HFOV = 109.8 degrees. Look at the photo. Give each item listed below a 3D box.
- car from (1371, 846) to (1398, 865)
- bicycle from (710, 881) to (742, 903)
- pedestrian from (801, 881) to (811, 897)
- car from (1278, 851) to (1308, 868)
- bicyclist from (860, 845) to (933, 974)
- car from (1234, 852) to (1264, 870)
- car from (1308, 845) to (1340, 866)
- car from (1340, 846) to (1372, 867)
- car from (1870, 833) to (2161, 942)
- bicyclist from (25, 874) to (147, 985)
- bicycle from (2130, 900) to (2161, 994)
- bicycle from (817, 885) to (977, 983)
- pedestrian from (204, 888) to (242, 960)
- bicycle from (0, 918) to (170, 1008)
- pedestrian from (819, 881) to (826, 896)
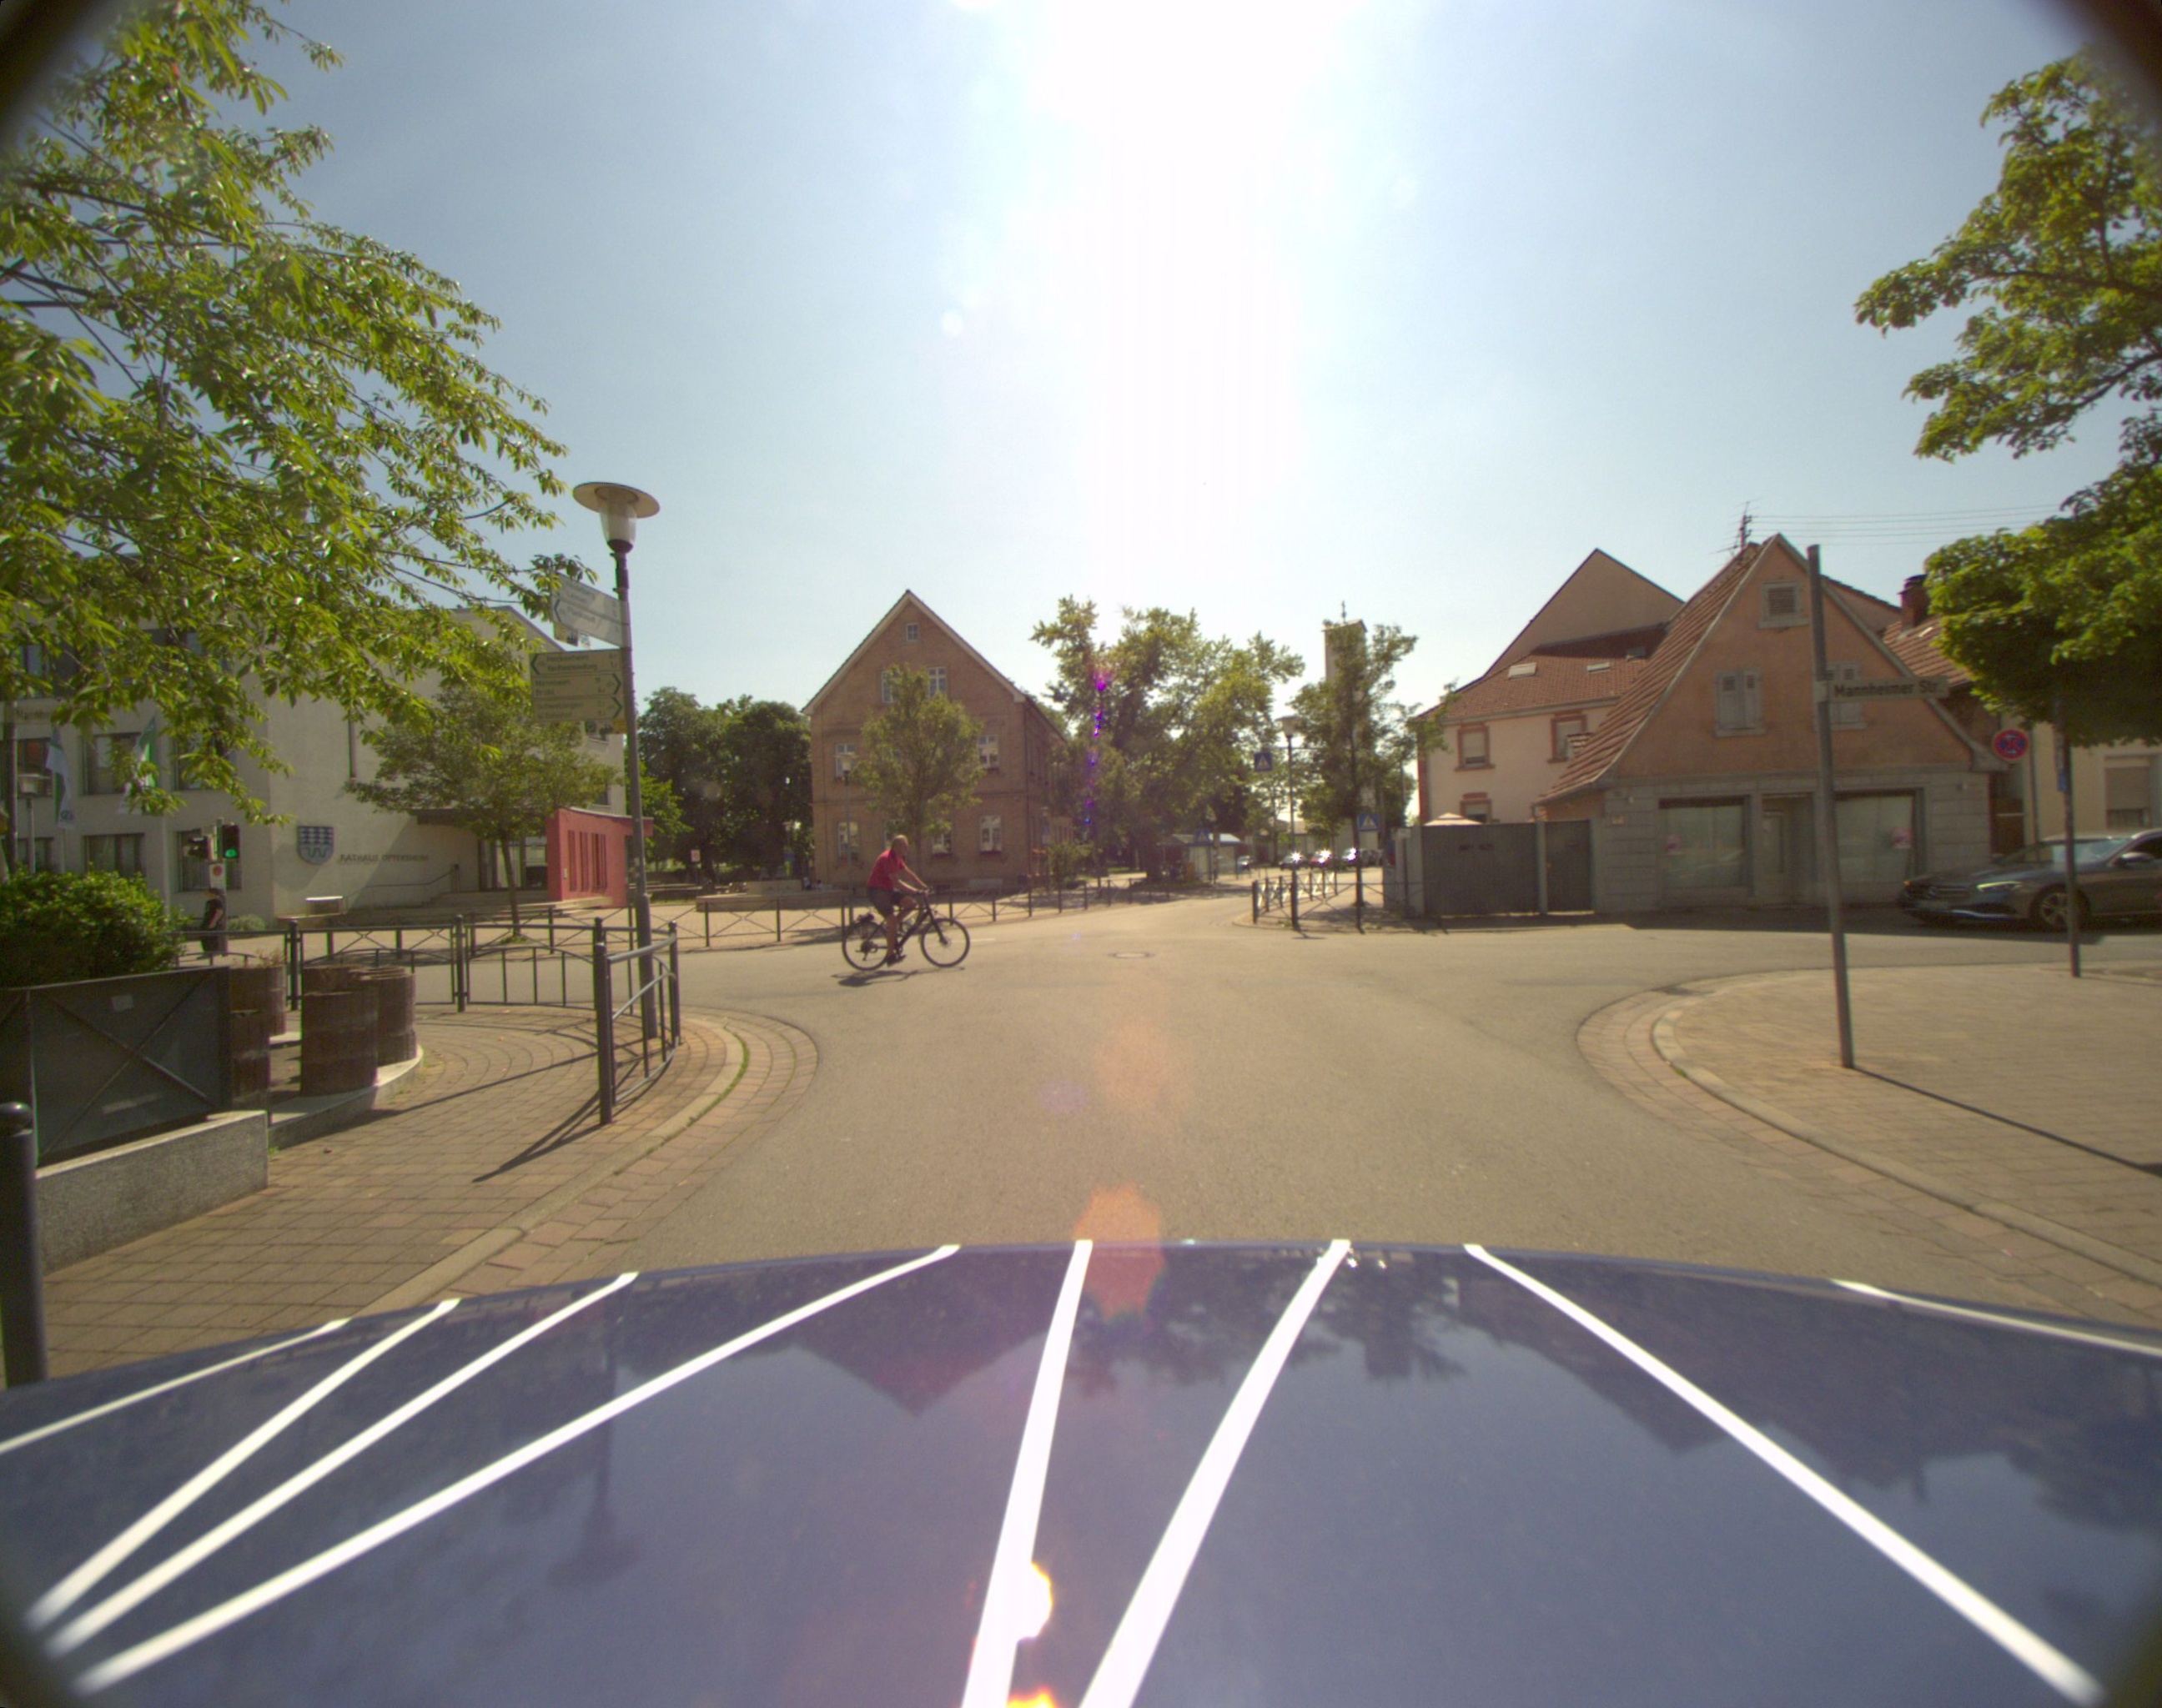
[{"bbox_3d":[27.845,0.144,69.624,1.777,1.635,4.008,-2,-1,29],"label":"car"},{"bbox_3d":[-18.895,2.004,40.488,0.580,1.000,1.954,-2,2,5],"label":"bicycle"},{"bbox_3d":[-13.615,1.730,37.592,0.367,0.812,0.361,-2,-1,-10],"label":"pedestrian"},{"bbox_3d":[19.840,0.517,70.938,1.646,1.459,3.787,-3,-1,33],"label":"car"},{"bbox_3d":[-2.534,0.742,10.485,0.759,1.706,0.703,-1,1,4],"label":"bicyclist"},{"bbox_3d":[16.175,0.671,73.106,1.995,1.607,4.006,-2,0,24],"label":"car"},{"bbox_3d":[22.391,0.119,69.998,1.777,1.783,4.008,-2,-1,33],"label":"car"},{"bbox_3d":[24.712,0.190,68.289,1.777,1.783,4.008,-1,0,34],"label":"car"},{"bbox_3d":[15.749,0.461,11.692,4.837,1.472,1.917,-2,-1,8],"label":"car"},{"bbox_3d":[-14.833,1.101,11.347,0.877,1.572,0.703,-1,1,4],"label":"bicyclist"},{"bbox_3d":[11.031,0.933,7.535,0.464,0.891,1.417,-4,-3,44],"label":"bicycle"},{"bbox_3d":[-2.517,1.093,10.552,1.969,1.183,0.738,-3,2,3],"label":"bicycle"},{"bbox_3d":[-20.103,1.621,17.803,0.555,1.609,0.551,-1,0,41],"label":"pedestrian"},{"bbox_3d":[-14.871,1.608,11.329,1.798,1.182,0.690,-3,-1,3],"label":"bicycle"},{"bbox_3d":[-12.792,1.696,37.604,0.289,0.728,0.357,-2,-1,-10],"label":"pedestrian"}]
